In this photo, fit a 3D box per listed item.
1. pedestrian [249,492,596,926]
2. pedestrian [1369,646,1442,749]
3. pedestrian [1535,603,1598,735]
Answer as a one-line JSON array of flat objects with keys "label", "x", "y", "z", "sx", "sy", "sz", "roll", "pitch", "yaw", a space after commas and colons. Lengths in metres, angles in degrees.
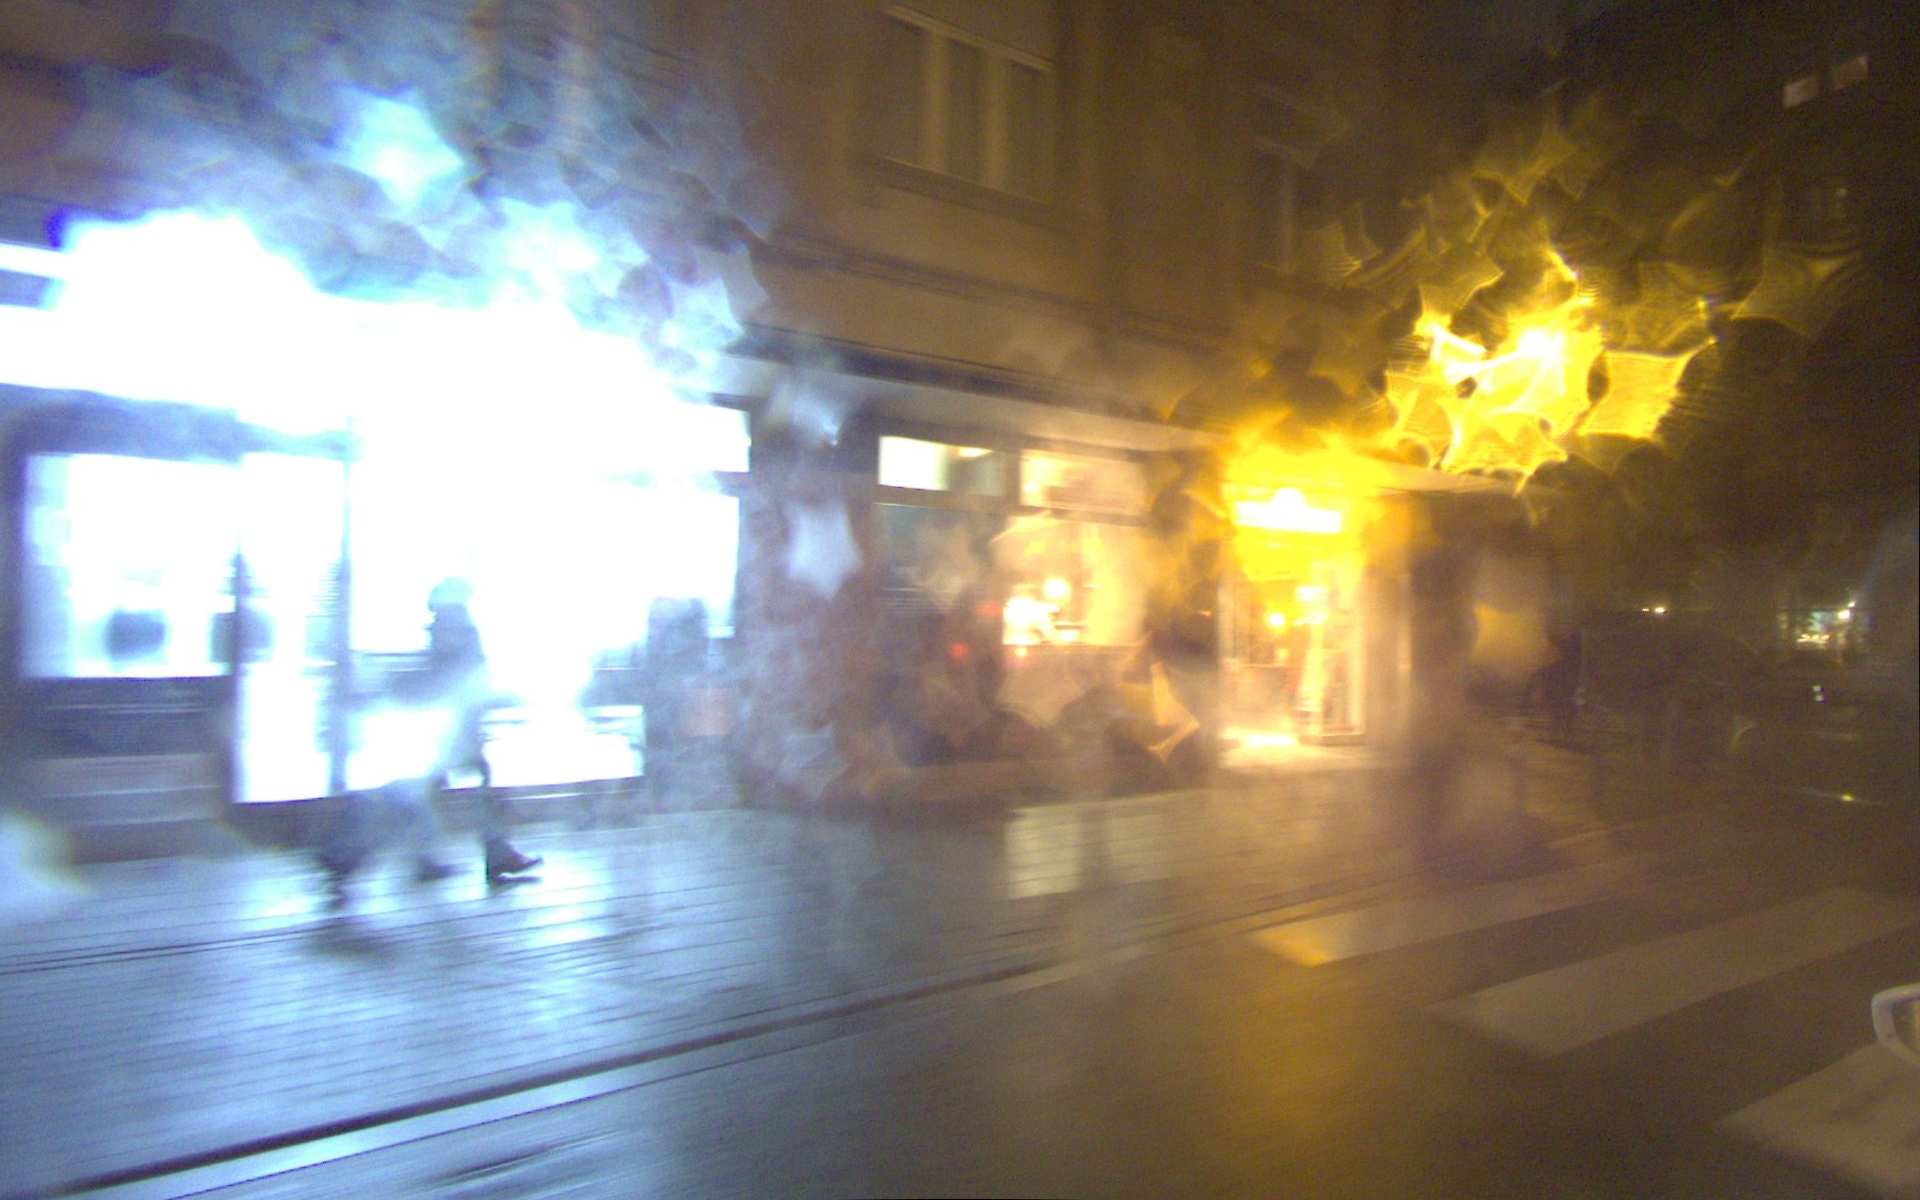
[{"label": "pedestrian", "x": -2.712, "y": 0.501, "z": 5.154, "sx": 1.399, "sy": 1.888, "sz": 0.951, "roll": 2, "pitch": -2, "yaw": -31}, {"label": "pedestrian", "x": 8.379, "y": 1.813, "z": 18.919, "sx": 0.931, "sy": 1.882, "sz": 0.796, "roll": 1, "pitch": -3, "yaw": -17}, {"label": "pedestrian", "x": 9.092, "y": 1.020, "z": 15.070, "sx": 0.641, "sy": 1.934, "sz": 0.629, "roll": 0, "pitch": -1, "yaw": 14}]
